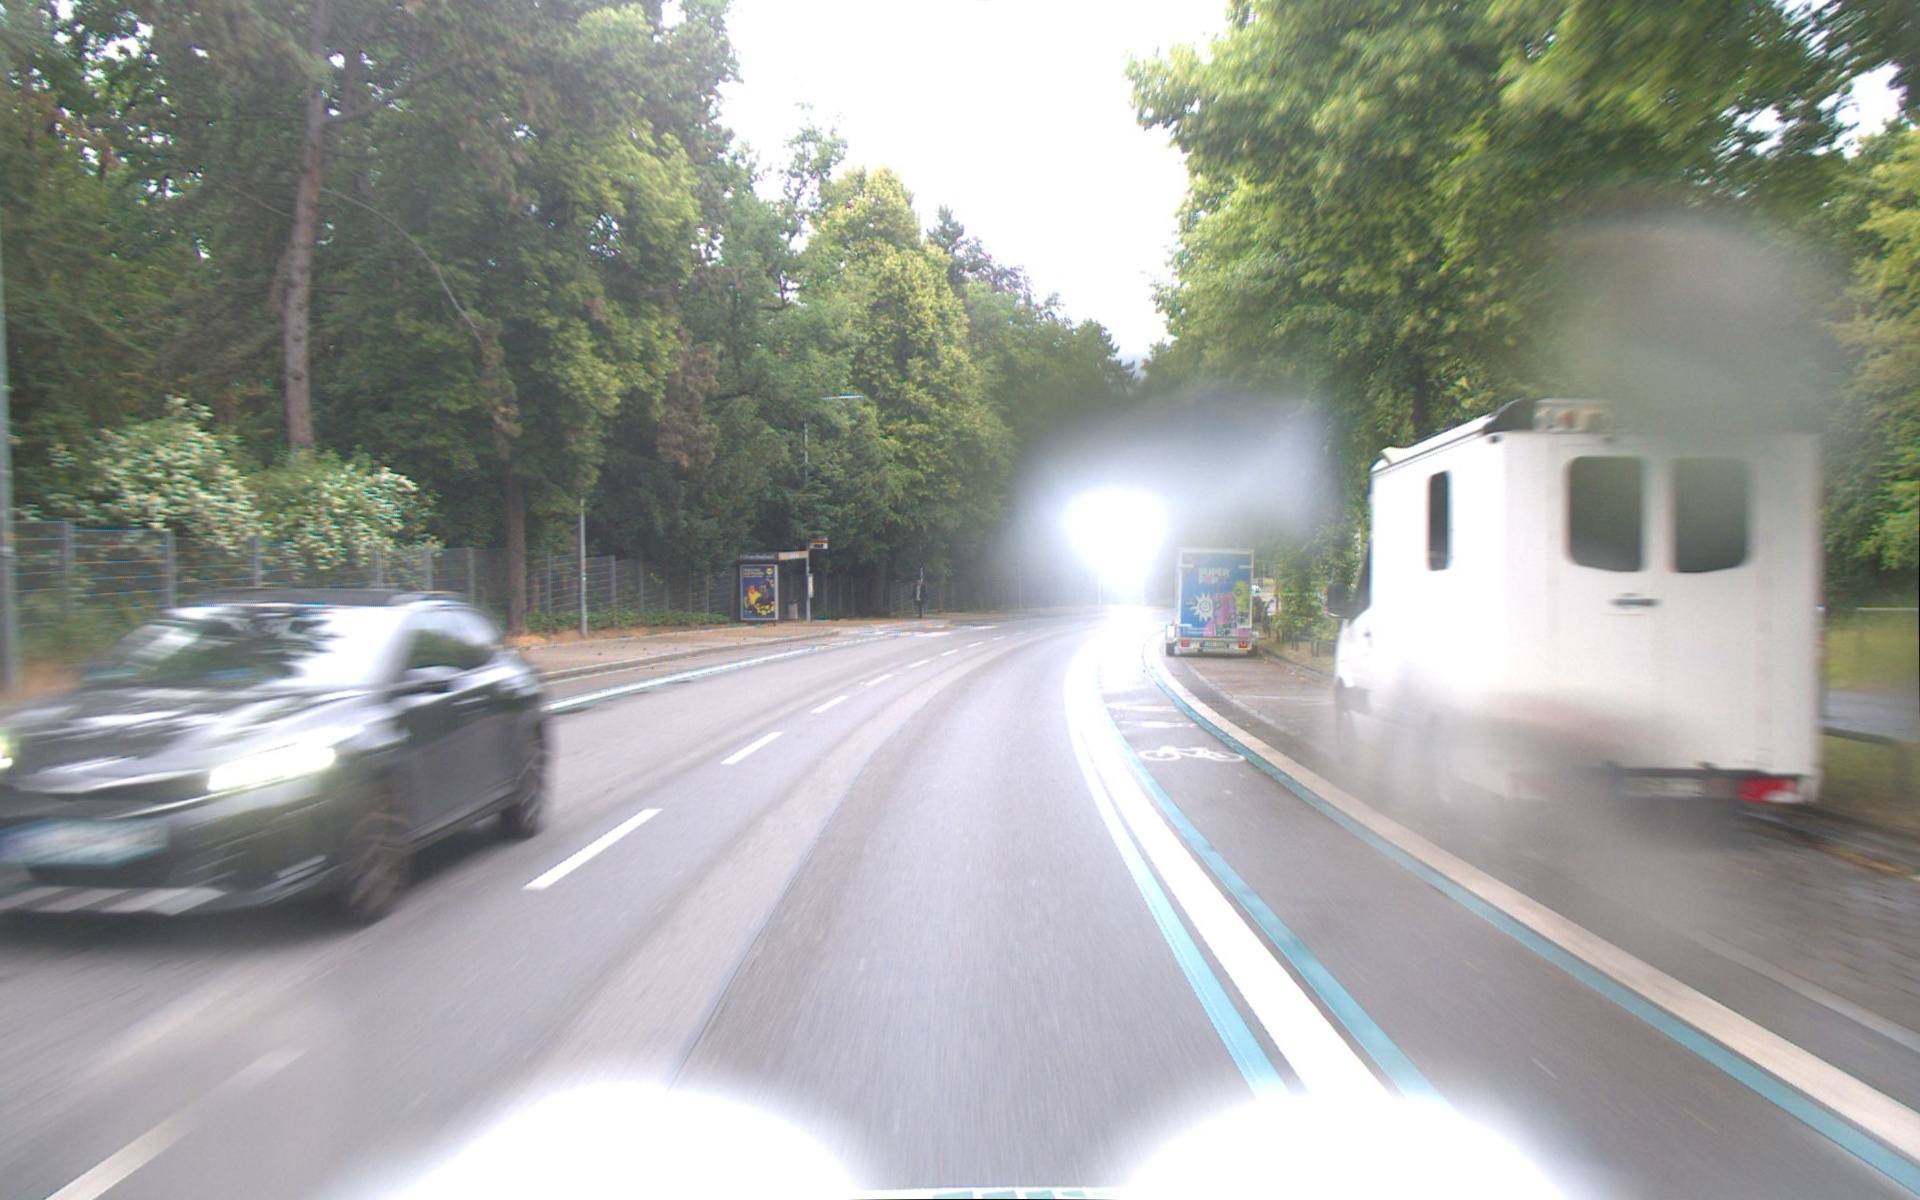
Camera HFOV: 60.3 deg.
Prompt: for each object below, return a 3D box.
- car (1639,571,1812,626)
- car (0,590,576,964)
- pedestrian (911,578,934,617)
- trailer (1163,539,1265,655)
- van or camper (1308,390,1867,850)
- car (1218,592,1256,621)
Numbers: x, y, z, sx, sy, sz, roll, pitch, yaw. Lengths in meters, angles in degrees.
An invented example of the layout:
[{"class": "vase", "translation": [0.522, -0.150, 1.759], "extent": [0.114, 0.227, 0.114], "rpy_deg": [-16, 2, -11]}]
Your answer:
[{"class": "car", "translation": [20.868, -0.022, 45.271], "extent": [4.049, 1.345, 1.892], "rpy_deg": [-2, 0, 17]}, {"class": "car", "translation": [-3.404, 0.690, 8.648], "extent": [1.723, 1.462, 4.152], "rpy_deg": [0, 0, 1]}, {"class": "pedestrian", "translation": [-1.717, -0.130, 75.244], "extent": [0.868, 1.763, 1.147], "rpy_deg": [1, 0, 6]}, {"class": "trailer", "translation": [6.370, -0.091, 42.024], "extent": [2.267, 2.718, 5.380], "rpy_deg": [1, 0, 6]}, {"class": "van or camper", "translation": [4.394, 0.087, 13.029], "extent": [2.268, 2.711, 6.385], "rpy_deg": [1, 0, 3]}, {"class": "car", "translation": [14.692, 0.346, 87.639], "extent": [1.663, 1.445, 4.767], "rpy_deg": [2, 0, 13]}]
